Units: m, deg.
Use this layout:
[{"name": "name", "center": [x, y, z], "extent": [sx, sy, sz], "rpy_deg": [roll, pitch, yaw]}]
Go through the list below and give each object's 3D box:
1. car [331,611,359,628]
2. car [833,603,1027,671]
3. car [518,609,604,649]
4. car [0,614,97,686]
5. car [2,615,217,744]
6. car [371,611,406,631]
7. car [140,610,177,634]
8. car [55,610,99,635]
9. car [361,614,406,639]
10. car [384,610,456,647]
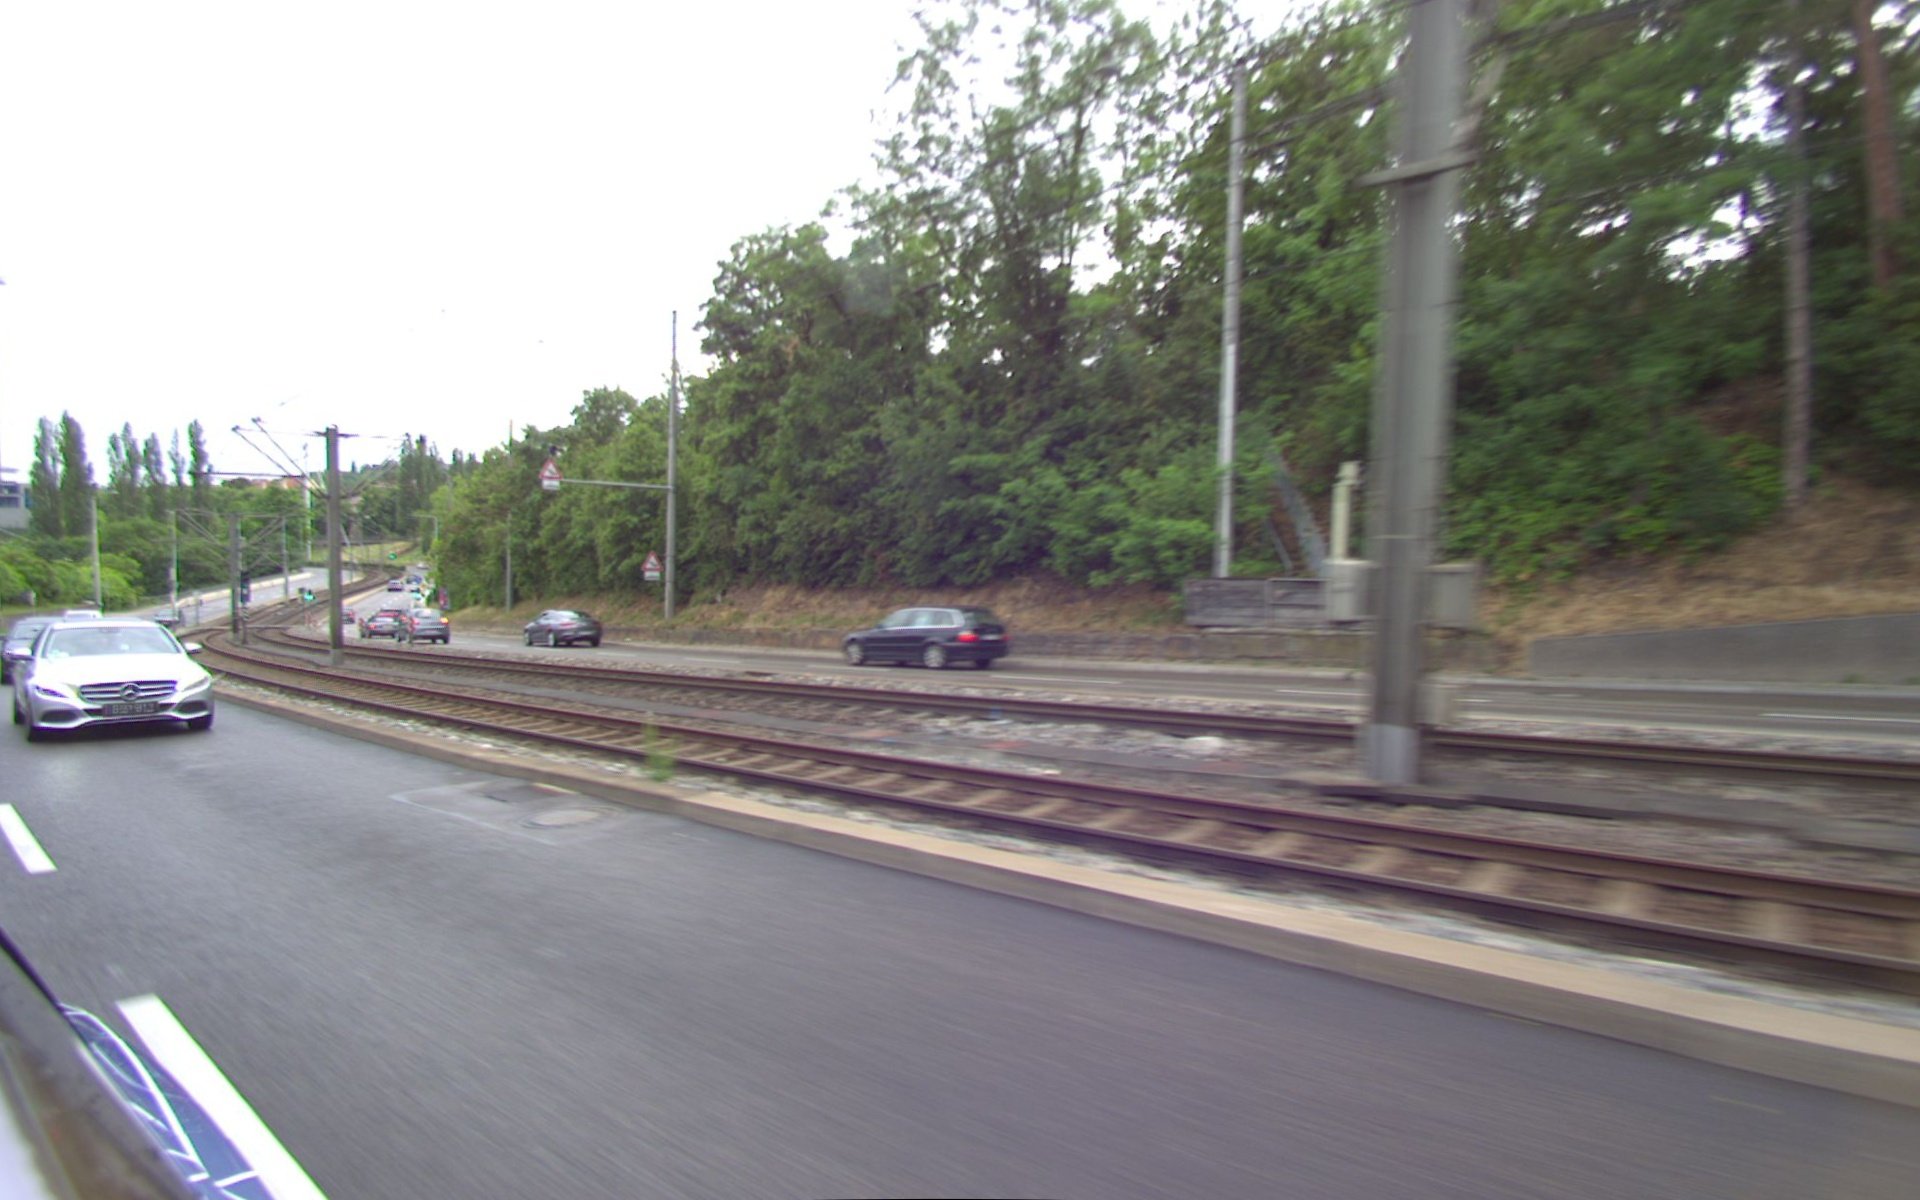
[{"name": "car", "center": [-56.478, 1.803, 92.982], "extent": [2.179, 1.469, 4.475], "rpy_deg": [-2, 0, -31]}, {"name": "car", "center": [-0.767, 0.802, 23.209], "extent": [4.454, 1.392, 1.872], "rpy_deg": [-1, -1, 44]}, {"name": "car", "center": [-15.389, 1.083, 38.911], "extent": [1.778, 1.434, 4.470], "rpy_deg": [1, -1, -39]}, {"name": "car", "center": [-21.207, 1.103, 23.454], "extent": [1.704, 1.482, 3.892], "rpy_deg": [-1, 0, -42]}, {"name": "car", "center": [-11.395, 0.910, 13.447], "extent": [1.835, 1.413, 4.317], "rpy_deg": [0, -1, -45]}, {"name": "car", "center": [-44.118, 1.599, 78.028], "extent": [1.967, 1.469, 4.474], "rpy_deg": [-2, 0, -34]}, {"name": "car", "center": [-70.434, 1.888, 88.943], "extent": [1.966, 2.029, 4.507], "rpy_deg": [-1, 0, -31]}, {"name": "car", "center": [-64.699, 1.627, 74.212], "extent": [1.781, 1.521, 4.012], "rpy_deg": [-3, 4, -33]}, {"name": "car", "center": [-30.432, 1.379, 53.336], "extent": [1.641, 1.209, 4.473], "rpy_deg": [-2, 0, -35]}, {"name": "car", "center": [-23.377, 1.206, 43.702], "extent": [1.881, 1.469, 4.470], "rpy_deg": [0, -1, -40]}]
